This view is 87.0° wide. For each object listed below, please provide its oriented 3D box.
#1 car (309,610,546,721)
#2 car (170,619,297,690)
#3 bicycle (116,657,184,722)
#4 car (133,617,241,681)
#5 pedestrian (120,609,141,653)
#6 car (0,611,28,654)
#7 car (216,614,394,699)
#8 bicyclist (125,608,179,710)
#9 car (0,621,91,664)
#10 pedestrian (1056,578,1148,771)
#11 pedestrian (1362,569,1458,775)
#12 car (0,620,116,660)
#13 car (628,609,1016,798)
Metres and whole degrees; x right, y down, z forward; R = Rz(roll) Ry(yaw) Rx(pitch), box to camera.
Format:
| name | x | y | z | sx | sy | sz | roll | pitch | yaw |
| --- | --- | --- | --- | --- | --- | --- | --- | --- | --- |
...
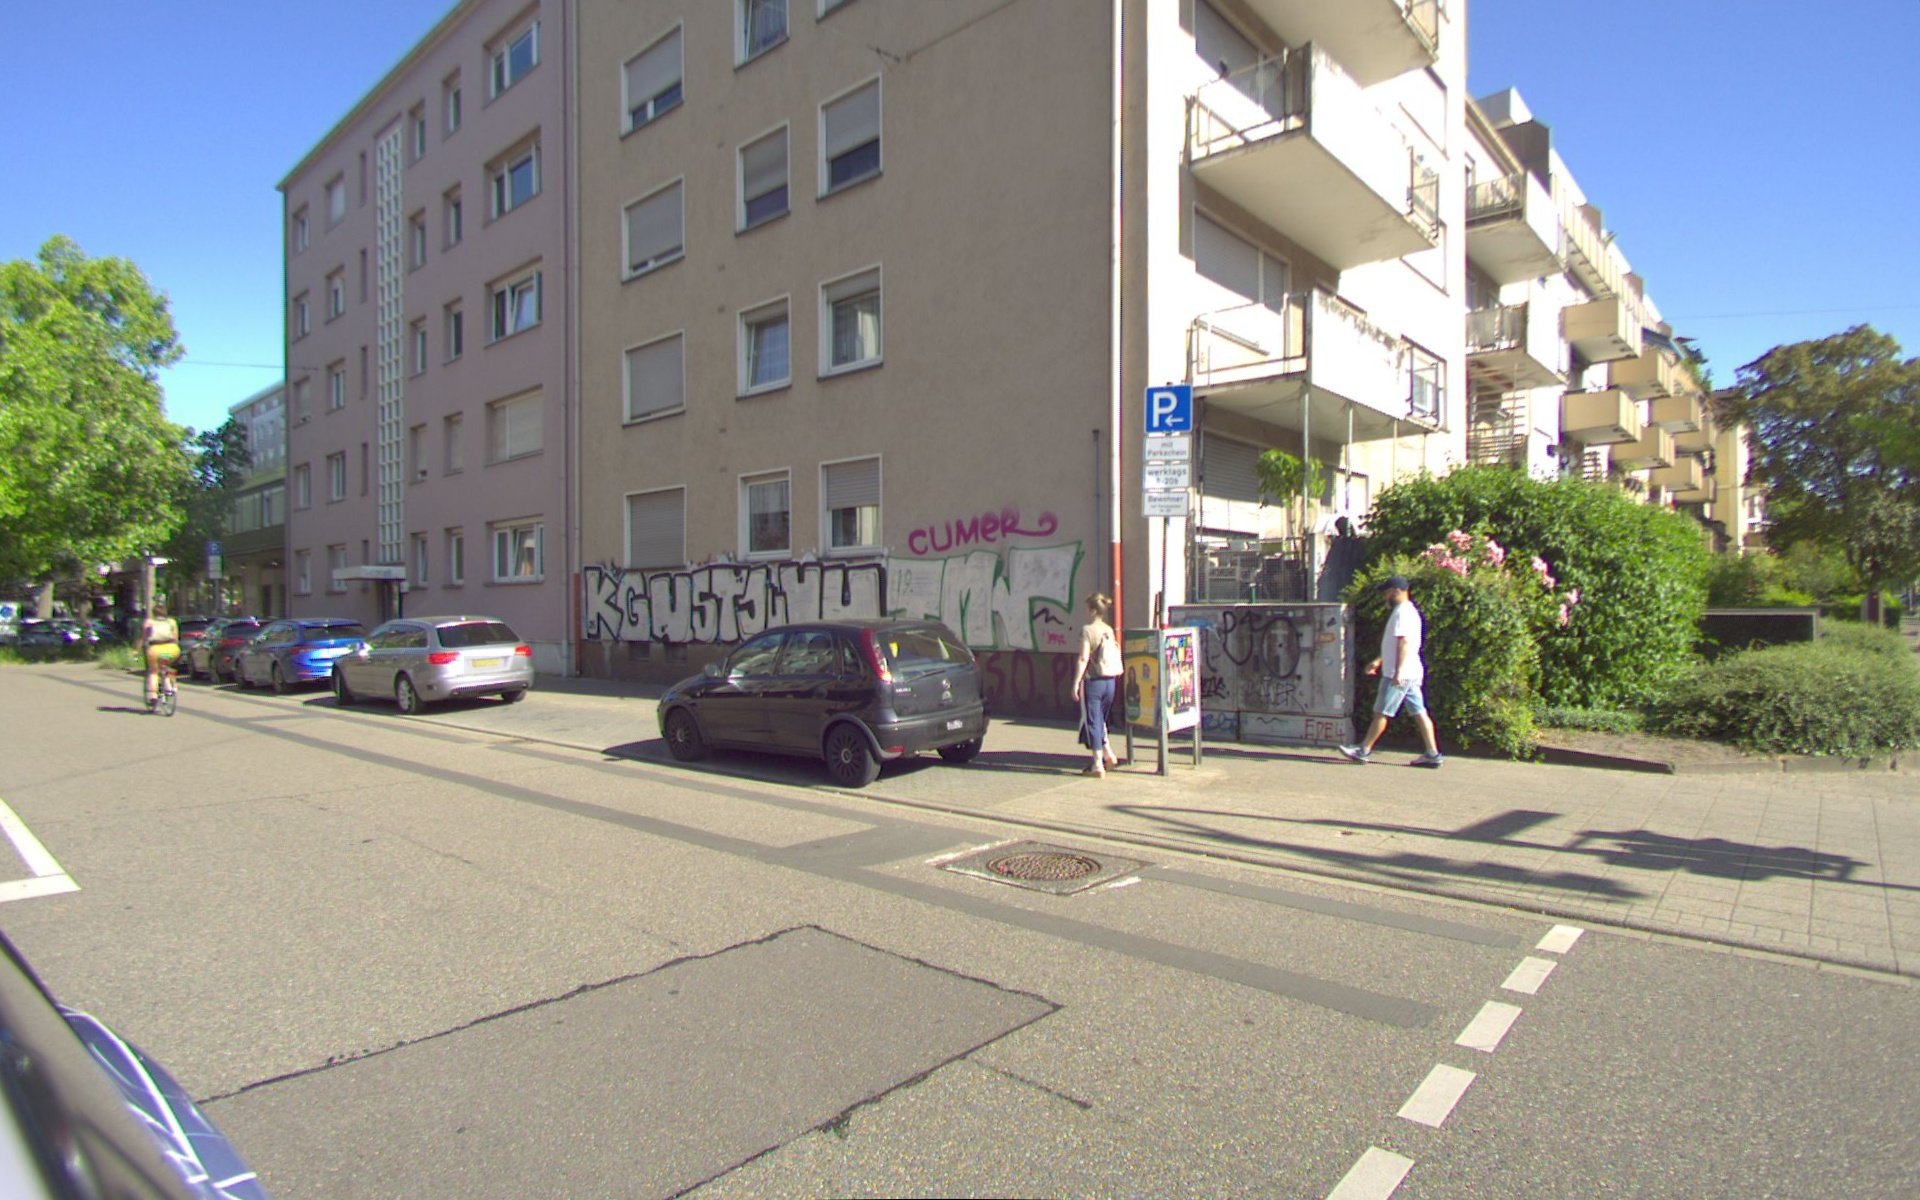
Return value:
| name | x | y | z | sx | sy | sz | roll | pitch | yaw |
| --- | --- | --- | --- | --- | --- | --- | --- | --- | --- |
| car | -8.972 | 1.001 | 16.872 | 4.798 | 1.514 | 1.805 | -1 | 1 | 40 |
| car | -17.688 | 1.263 | 24.570 | 4.158 | 1.478 | 1.704 | -1 | 1 | 43 |
| bicycle | -12.746 | 1.383 | 15.911 | 1.825 | 0.909 | 0.537 | -1 | -1 | 42 |
| car | -21.592 | 1.315 | 28.214 | 4.158 | 1.588 | 1.704 | -1 | 1 | 43 |
| pedestrian | -34.342 | 1.276 | 41.895 | 0.502 | 1.820 | 0.615 | -2 | -1 | 42 |
| car | -47.092 | 1.563 | 48.225 | 1.913 | 2.058 | 3.824 | -2 | -1 | 43 |
| car | -13.835 | 1.121 | 21.252 | 4.798 | 1.514 | 1.805 | -1 | 1 | 40 |
| bicyclist | -12.594 | 0.901 | 15.776 | 0.774 | 1.532 | 0.537 | -2 | -1 | 42 |
| car | -36.348 | 1.646 | 39.195 | 1.913 | 1.564 | 3.943 | -1 | -1 | 44 |
| pedestrian | 1.224 | 0.620 | 8.746 | 0.524 | 1.593 | 0.564 | 0 | -1 | -37 |
| pedestrian | 3.895 | 0.599 | 8.753 | 0.667 | 1.701 | 0.568 | -1 | -1 | 32 |
| car | -37.899 | 1.636 | 42.226 | 1.913 | 1.564 | 3.943 | -1 | -1 | 44 |
| car | -1.494 | 0.885 | 10.123 | 3.854 | 1.459 | 1.674 | -1 | 1 | 40 |
